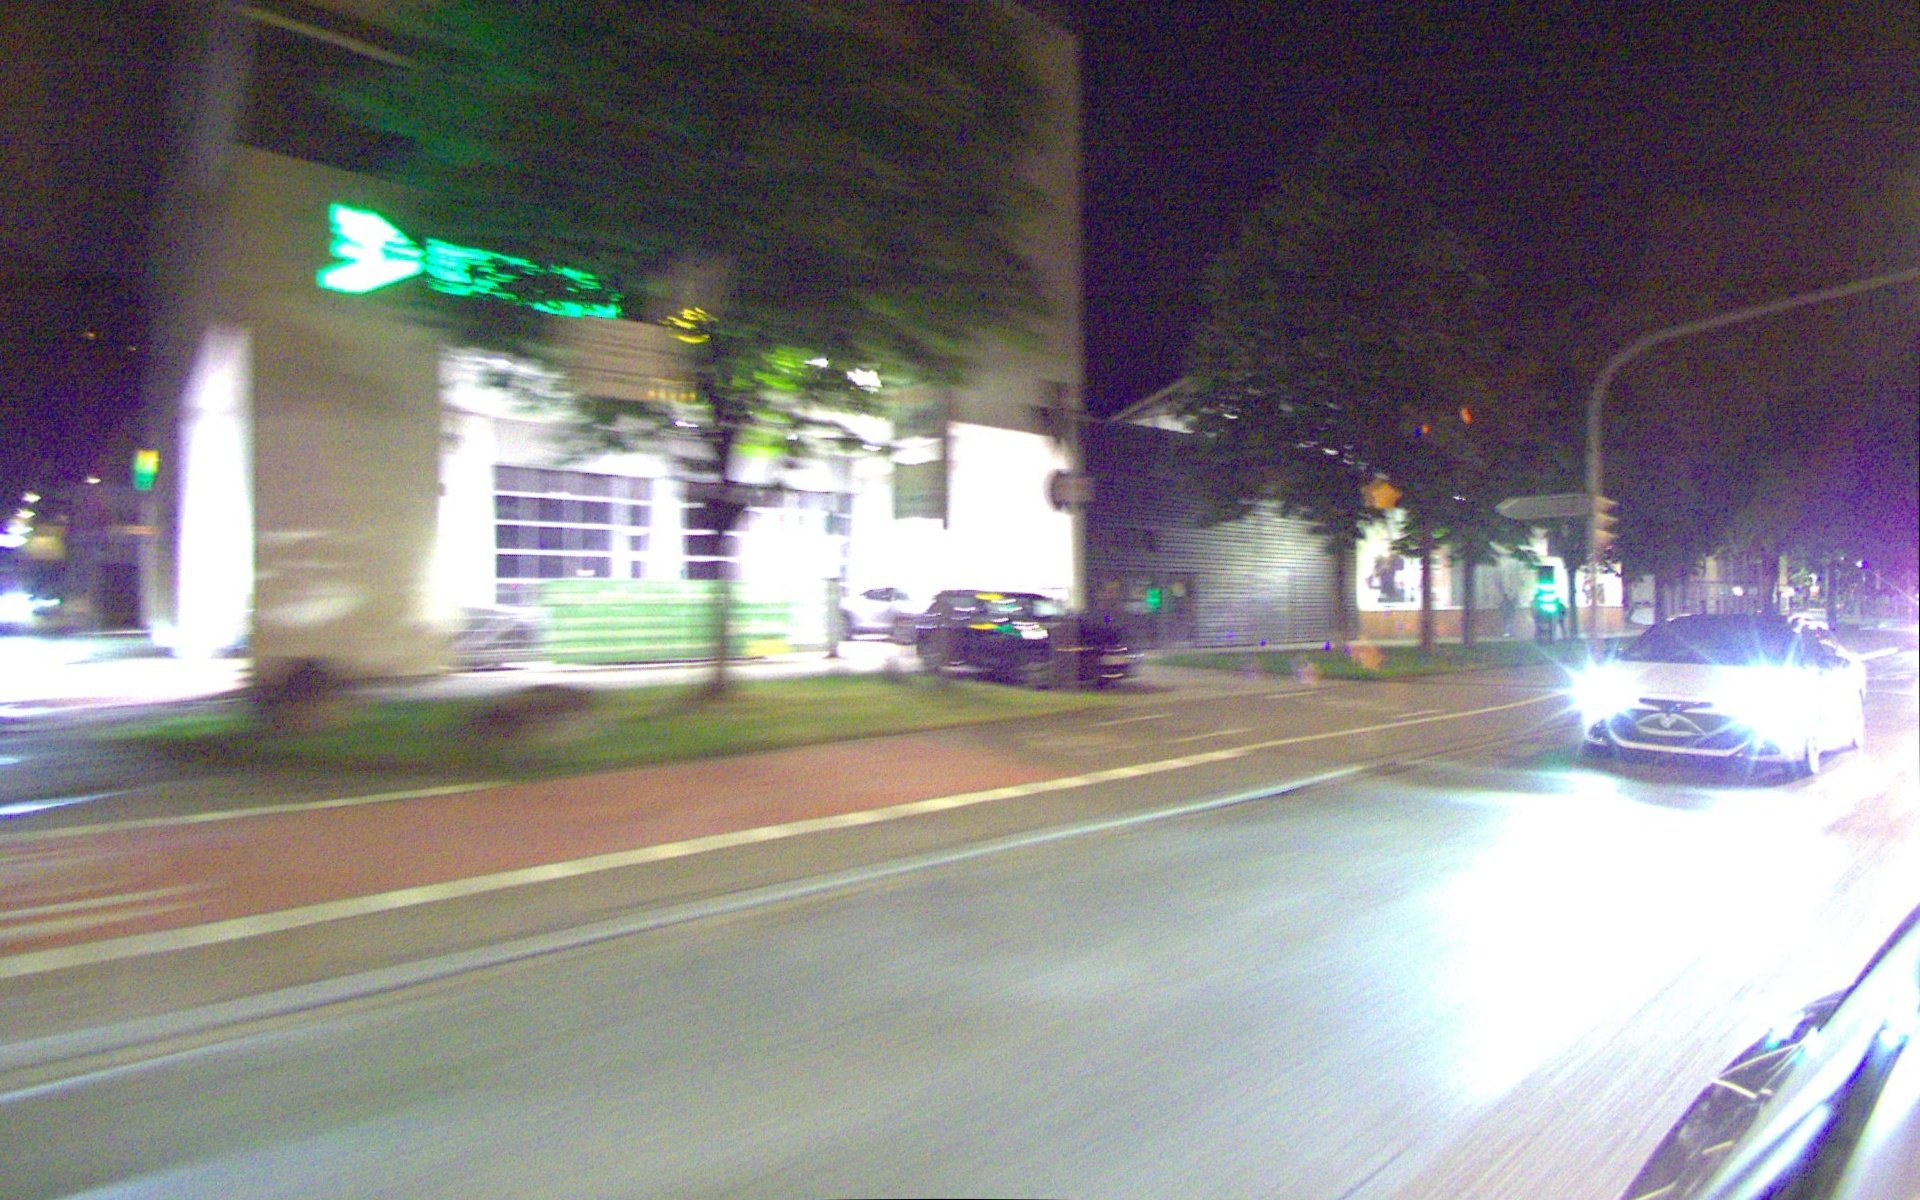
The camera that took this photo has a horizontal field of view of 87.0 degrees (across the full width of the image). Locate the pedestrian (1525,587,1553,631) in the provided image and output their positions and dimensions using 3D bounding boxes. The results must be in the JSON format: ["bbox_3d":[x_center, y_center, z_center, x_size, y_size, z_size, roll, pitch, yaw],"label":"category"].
[{"bbox_3d":[23.872,0.366,41.732,0.953,1.811,0.720,0,0,-41],"label":"pedestrian"}]

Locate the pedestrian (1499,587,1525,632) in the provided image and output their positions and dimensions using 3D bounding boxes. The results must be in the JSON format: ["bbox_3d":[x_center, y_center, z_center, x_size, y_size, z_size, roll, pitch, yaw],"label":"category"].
[{"bbox_3d":[23.098,0.383,42.321,0.890,1.840,0.675,0,0,-41],"label":"pedestrian"}]

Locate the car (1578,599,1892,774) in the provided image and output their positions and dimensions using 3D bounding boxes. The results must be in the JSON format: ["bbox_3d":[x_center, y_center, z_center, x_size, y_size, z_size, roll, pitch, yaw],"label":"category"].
[{"bbox_3d":[8.149,0.723,10.486,4.419,1.448,1.727,0,-1,-41],"label":"car"}]

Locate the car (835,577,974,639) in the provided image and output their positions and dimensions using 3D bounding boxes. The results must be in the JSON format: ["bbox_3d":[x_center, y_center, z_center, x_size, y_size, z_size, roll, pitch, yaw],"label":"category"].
[{"bbox_3d":[-1.579,0.189,27.882,1.687,1.585,3.953,-1,1,-43],"label":"car"}]

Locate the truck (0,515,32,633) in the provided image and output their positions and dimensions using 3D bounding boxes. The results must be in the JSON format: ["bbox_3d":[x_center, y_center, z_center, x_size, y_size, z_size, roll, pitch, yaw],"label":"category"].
[{"bbox_3d":[-39.863,-0.889,38.889,16.731,4.034,3.091,0,1,37],"label":"truck"}]

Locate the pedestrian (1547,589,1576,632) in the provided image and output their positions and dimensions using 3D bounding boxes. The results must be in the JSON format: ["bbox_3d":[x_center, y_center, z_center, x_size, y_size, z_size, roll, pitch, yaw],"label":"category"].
[{"bbox_3d":[24.327,0.412,40.918,0.968,1.738,0.736,0,0,-41],"label":"pedestrian"}]

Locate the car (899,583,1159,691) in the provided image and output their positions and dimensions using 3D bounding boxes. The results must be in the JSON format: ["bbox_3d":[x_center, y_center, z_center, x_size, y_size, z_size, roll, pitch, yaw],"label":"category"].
[{"bbox_3d":[0.973,0.470,16.043,1.756,1.472,4.088,0,1,-41],"label":"car"}]
